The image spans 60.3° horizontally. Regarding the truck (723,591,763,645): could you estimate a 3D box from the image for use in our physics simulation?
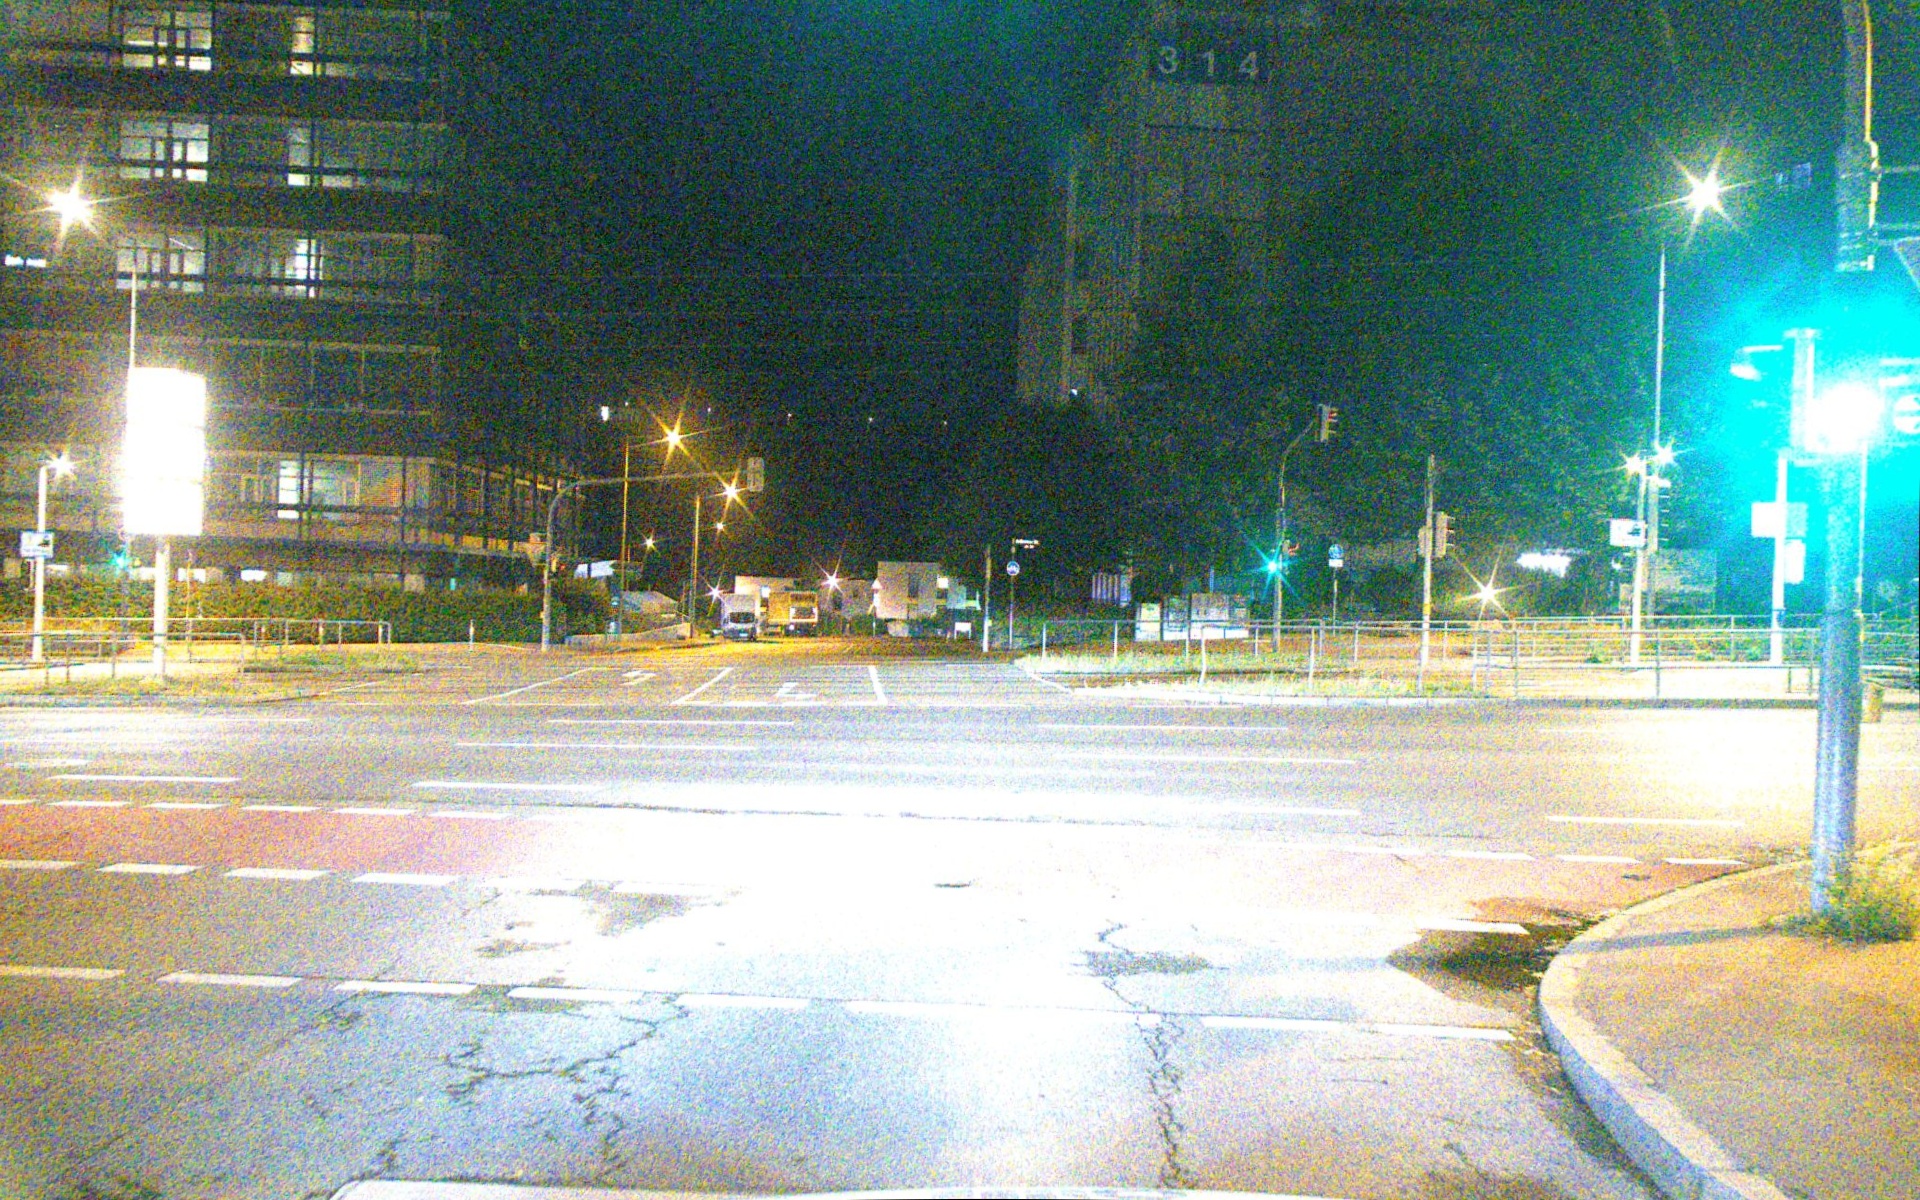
[{"bbox_3d":[-15.566,1.266,118.360,2.535,3.772,5.724,1,0,-10],"label":"truck"}]

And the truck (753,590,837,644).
[{"bbox_3d":[-15.101,1.479,150.183,4.751,4.627,12.593,1,0,-19],"label":"truck"}]
